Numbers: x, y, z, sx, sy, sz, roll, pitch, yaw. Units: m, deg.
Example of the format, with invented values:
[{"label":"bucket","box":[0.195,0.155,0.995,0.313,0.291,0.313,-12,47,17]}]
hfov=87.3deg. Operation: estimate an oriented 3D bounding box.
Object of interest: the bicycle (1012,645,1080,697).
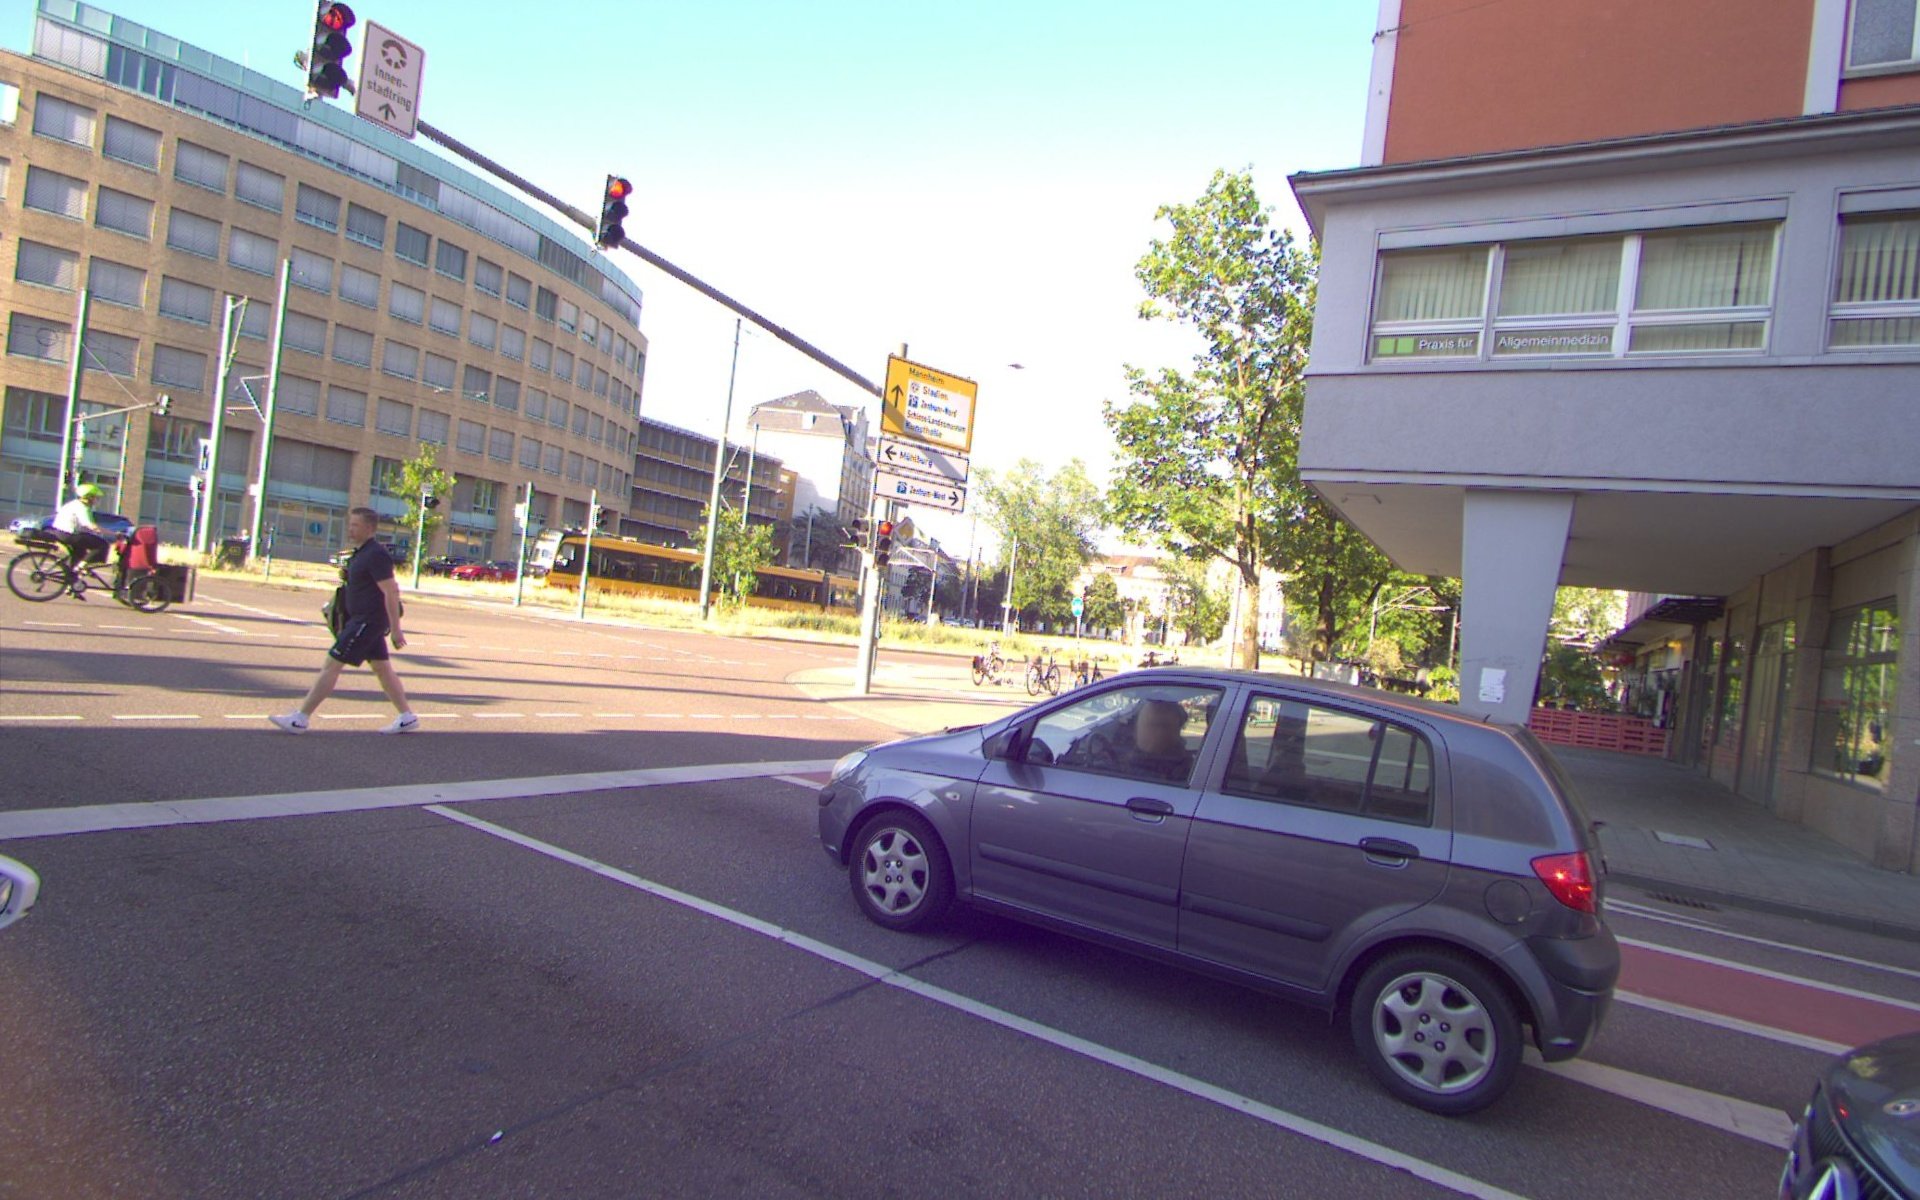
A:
[{"label":"bicycle","box":[2.098,1.706,24.328,0.730,1.130,2.089,7,0,29]}]

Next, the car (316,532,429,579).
[{"label":"car","box":[-28.495,-2.140,48.935,1.967,1.634,4.234,7,-1,32]}]

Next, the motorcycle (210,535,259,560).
[{"label":"motorcycle","box":[-35.064,-2.521,48.652,0.515,0.965,1.820,7,-1,30]}]

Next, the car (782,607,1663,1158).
[{"label":"car","box":[1.102,1.020,4.934,3.586,1.463,1.588,7,-2,31]}]

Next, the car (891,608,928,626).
[{"label":"car","box":[-6.032,2.044,120.061,1.974,1.630,3.978,7,-1,44]}]

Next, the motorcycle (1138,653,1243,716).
[{"label":"motorcycle","box":[5.864,2.143,25.615,2.361,1.256,0.855,7,0,28]}]

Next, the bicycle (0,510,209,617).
[{"label":"bicycle","box":[-11.801,-0.477,13.803,1.142,1.182,2.047,7,0,29]}]

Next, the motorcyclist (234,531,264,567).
[{"label":"motorcyclist","box":[-34.767,-2.508,49.209,0.789,1.605,0.849,7,0,32]}]

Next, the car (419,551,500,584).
[{"label":"car","box":[-27.793,-1.791,55.950,1.693,1.358,3.614,7,-1,30]}]

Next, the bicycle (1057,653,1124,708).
[{"label":"bicycle","box":[3.089,1.880,23.661,0.730,1.130,2.089,7,0,29]}]

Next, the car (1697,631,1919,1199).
[{"label":"car","box":[3.262,1.101,0.501,4.403,1.652,1.787,7,0,30]}]

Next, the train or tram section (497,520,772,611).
[{"label":"train or tram section","box":[-17.861,-1.692,58.016,3.636,3.215,17.137,7,-1,29]}]

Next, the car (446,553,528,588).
[{"label":"car","box":[-25.553,-1.576,54.417,1.693,1.358,3.613,7,-1,31]}]

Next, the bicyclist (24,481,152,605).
[{"label":"bicyclist","box":[-11.845,-0.770,13.672,1.142,1.505,0.881,7,0,29]}]

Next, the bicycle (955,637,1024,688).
[{"label":"bicycle","box":[0.752,1.550,25.031,0.730,1.130,2.089,7,0,29]}]

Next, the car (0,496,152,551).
[{"label":"car","box":[-35.967,-3.064,40.964,1.965,1.520,4.238,7,-1,28]}]

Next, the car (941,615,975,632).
[{"label":"car","box":[-0.253,2.882,124.714,1.971,1.609,3.983,7,-1,40]}]

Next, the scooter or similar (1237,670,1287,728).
[{"label":"scooter or similar","box":[6.980,2.286,23.225,1.130,1.261,0.424,5,1,-39]}]

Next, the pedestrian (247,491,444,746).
[{"label":"pedestrian","box":[-4.651,0.149,7.647,0.659,1.790,0.945,7,0,35]}]

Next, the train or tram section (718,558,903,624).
[{"label":"train or tram section","box":[-10.299,-0.391,74.525,3.632,3.215,19.956,7,-1,22]}]
